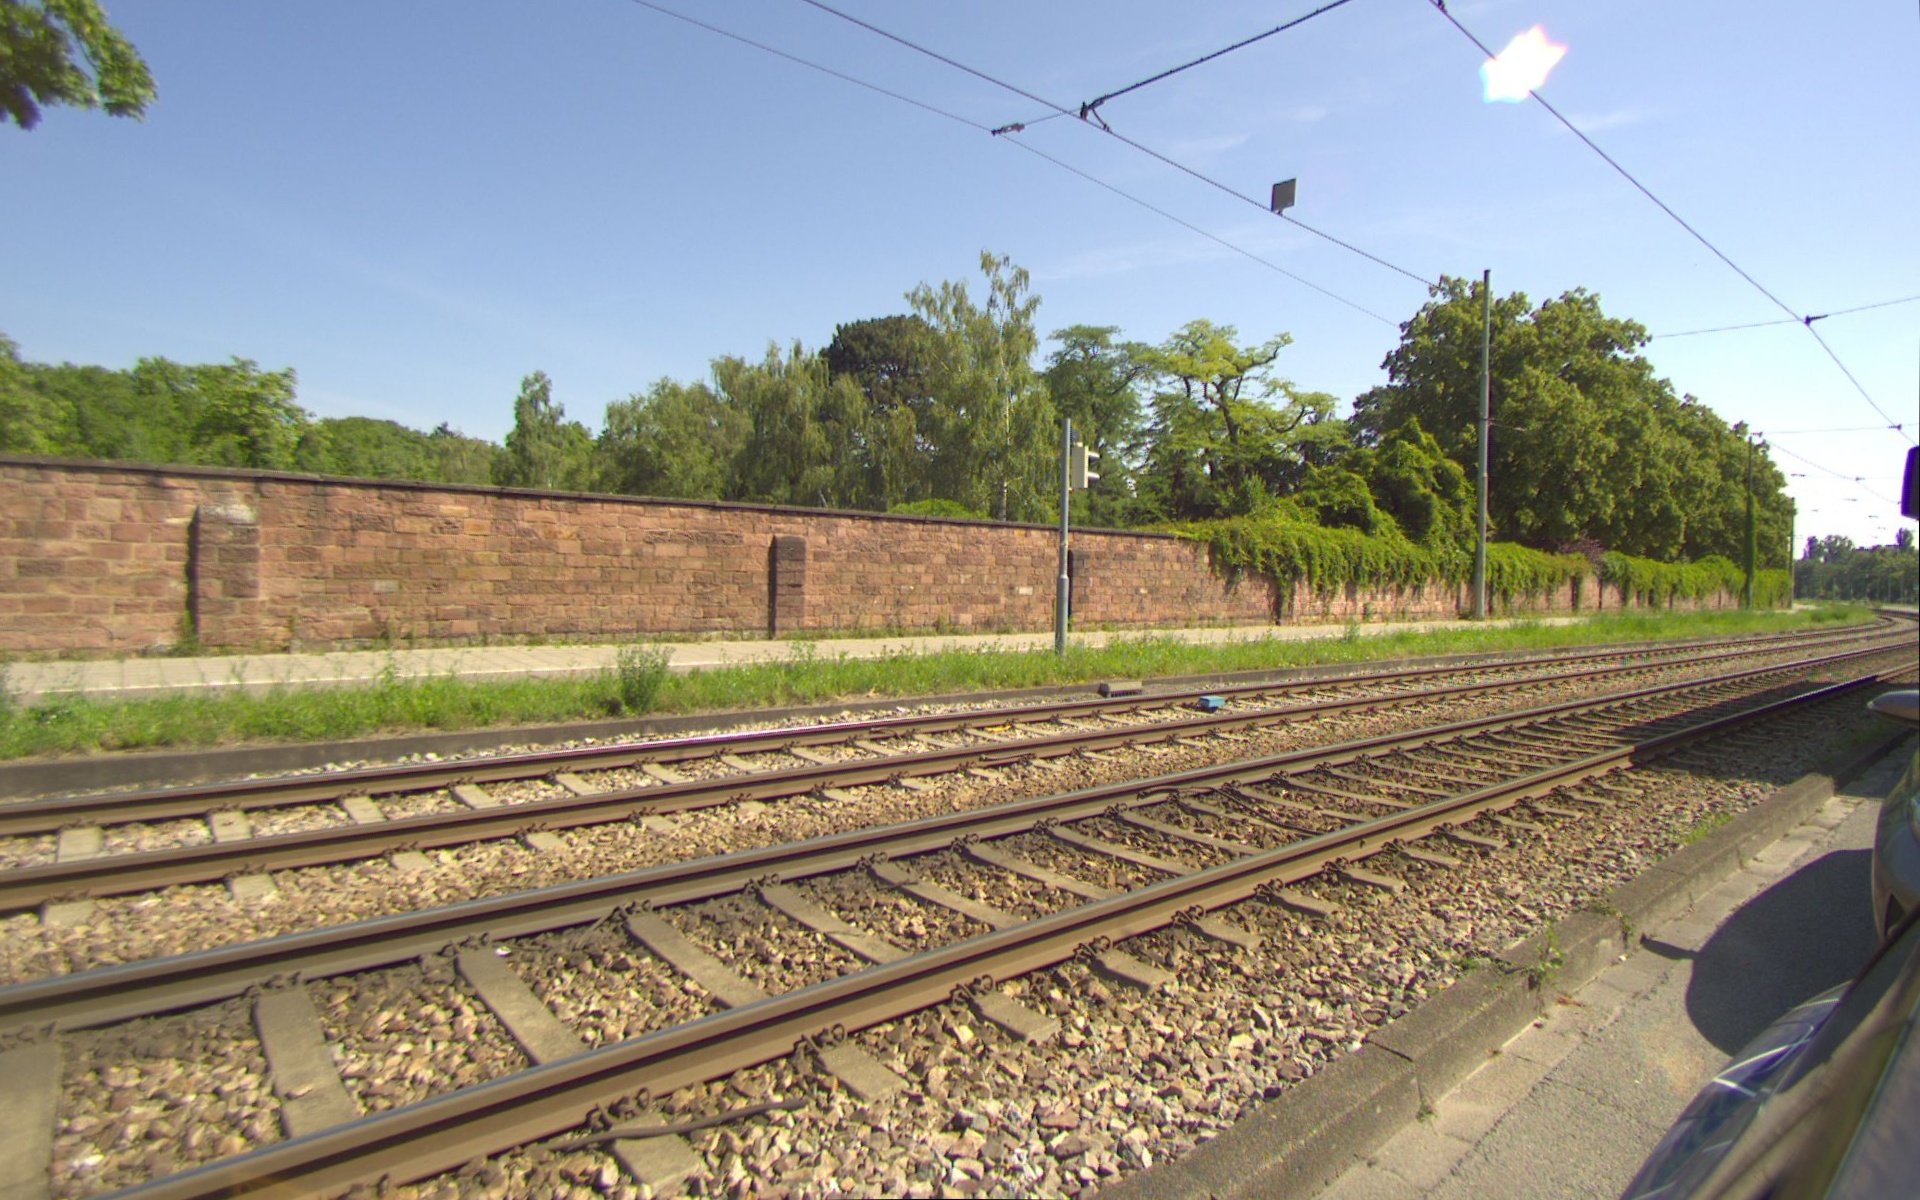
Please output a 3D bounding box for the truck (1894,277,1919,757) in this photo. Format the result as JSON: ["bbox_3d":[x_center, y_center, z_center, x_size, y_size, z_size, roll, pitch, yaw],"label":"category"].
[{"bbox_3d":[14.263,-0.630,12.033,14.652,3.927,2.934,0,2,-41],"label":"truck"}]

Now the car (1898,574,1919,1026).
[{"bbox_3d":[5.051,0.672,3.956,3.930,1.448,1.573,0,2,-41],"label":"car"}]
